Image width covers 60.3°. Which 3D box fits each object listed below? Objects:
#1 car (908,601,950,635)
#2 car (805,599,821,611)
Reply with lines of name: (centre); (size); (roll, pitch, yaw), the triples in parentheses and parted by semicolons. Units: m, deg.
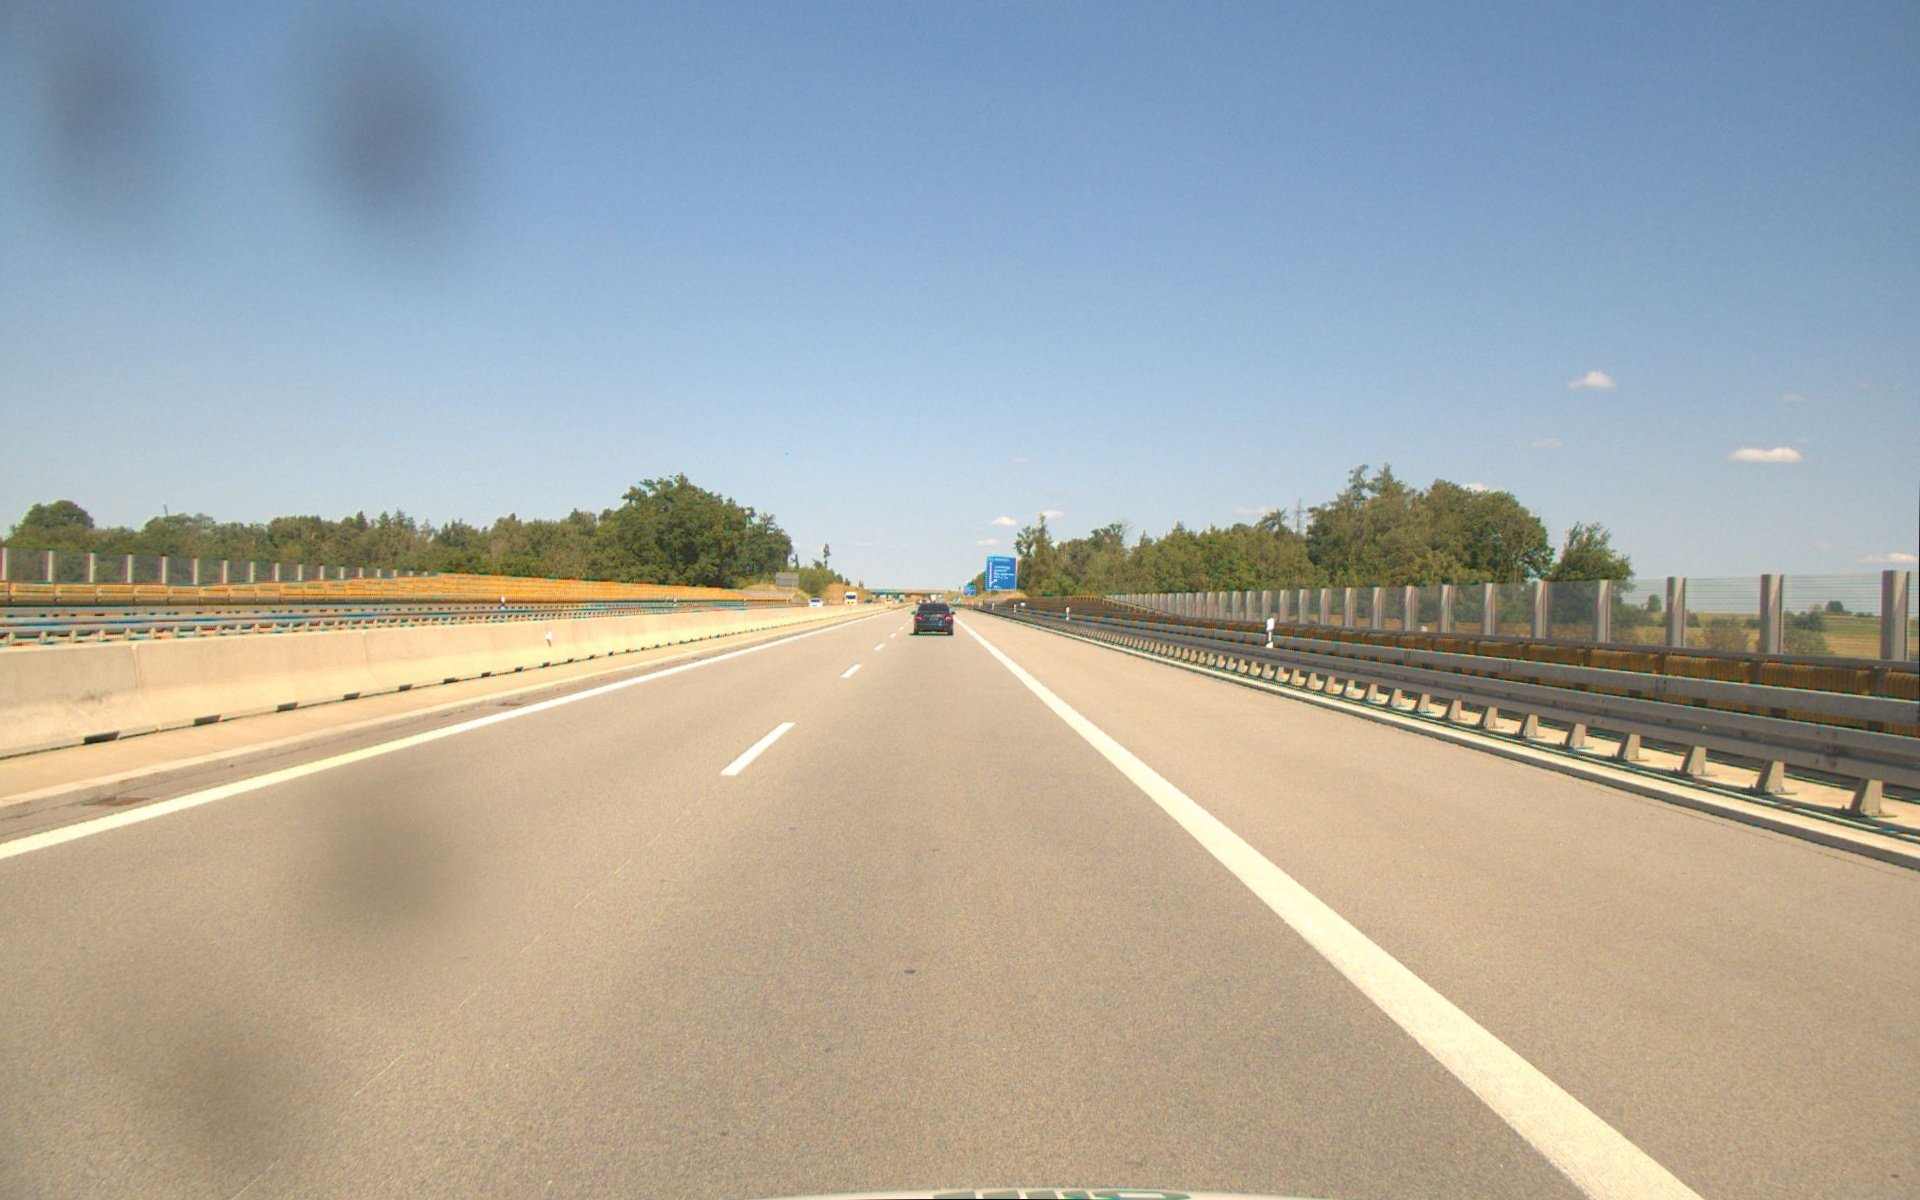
car: (-1.323, 0.782, 72.356); (1.753, 1.398, 3.916); (1, 0, -1)
car: (-18.525, 0.642, 208.059); (1.614, 1.535, 4.331); (1, 0, -1)
